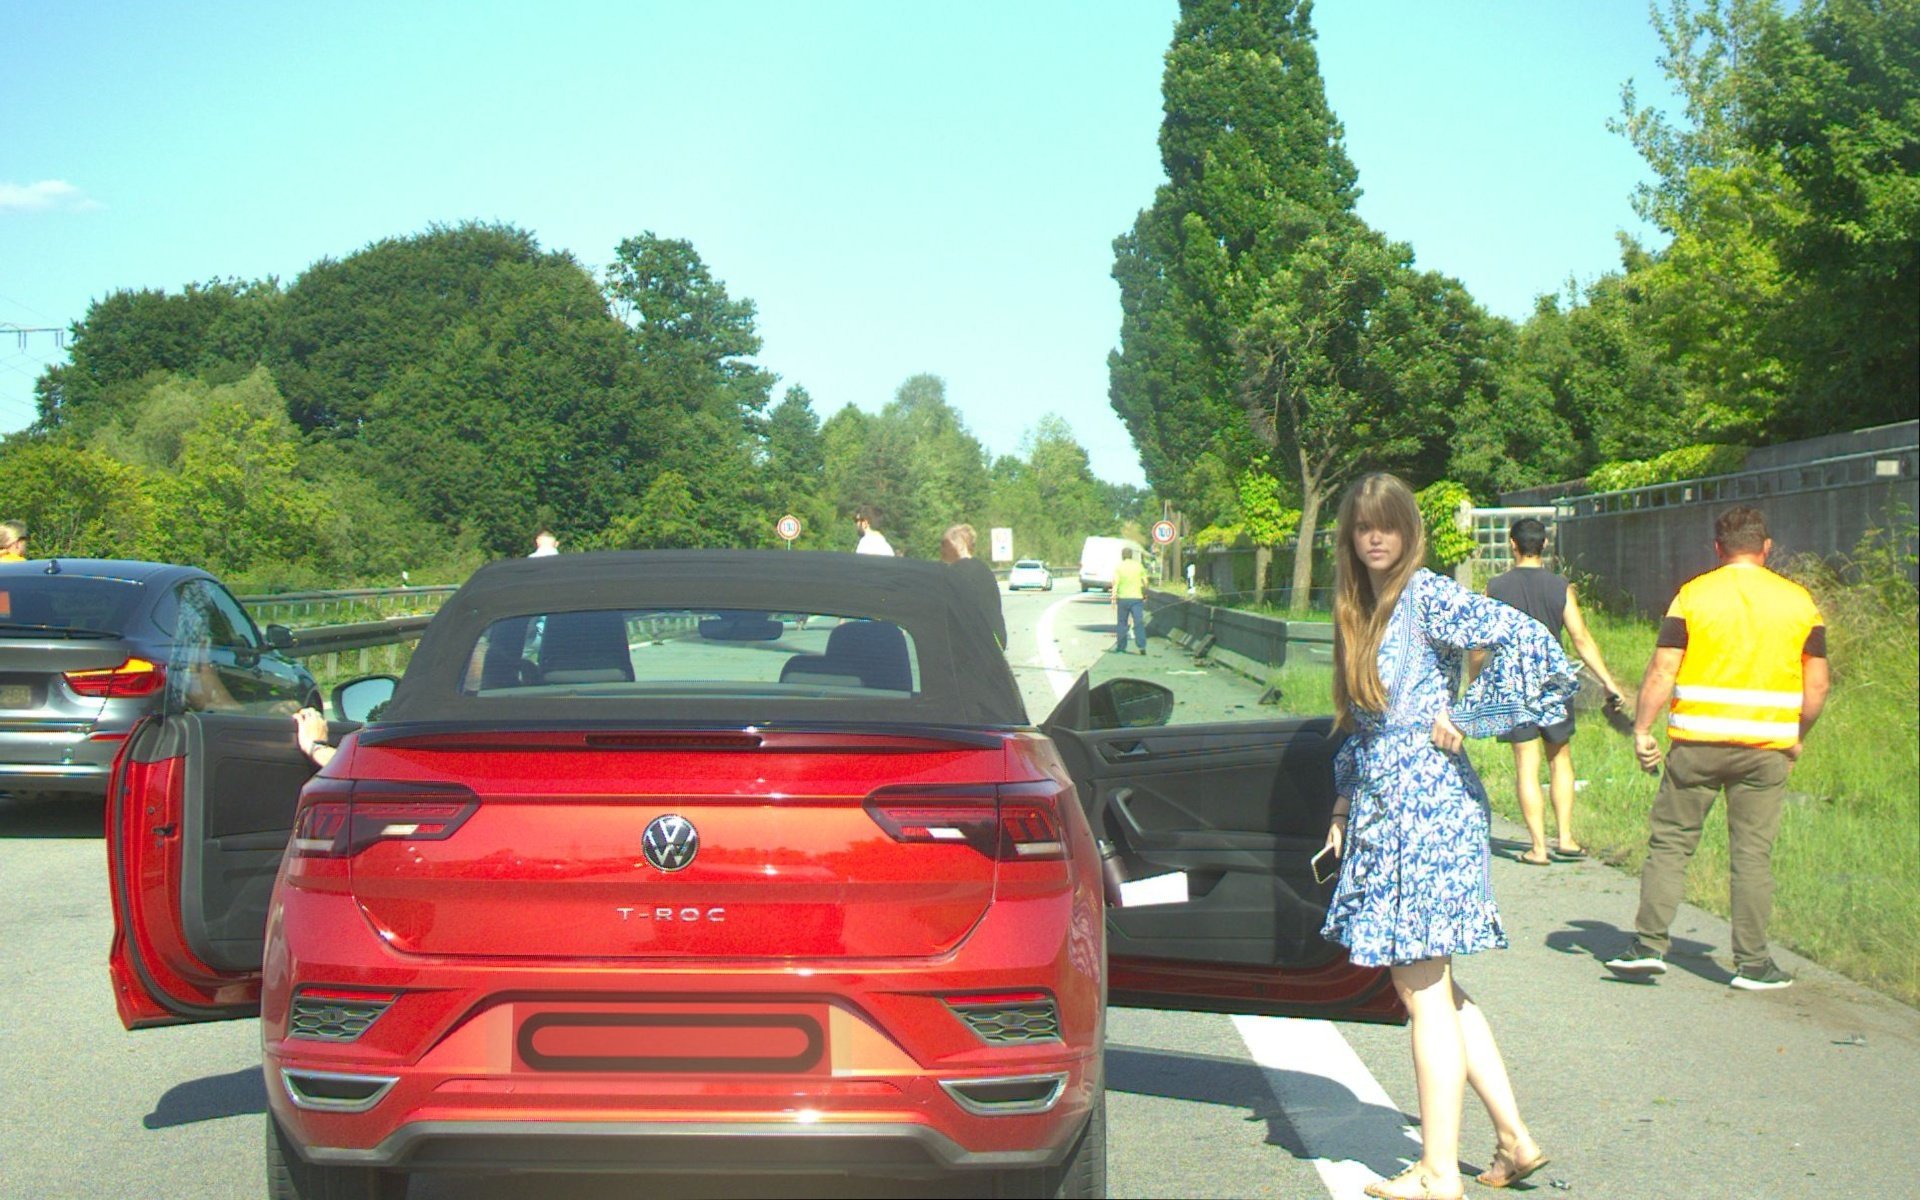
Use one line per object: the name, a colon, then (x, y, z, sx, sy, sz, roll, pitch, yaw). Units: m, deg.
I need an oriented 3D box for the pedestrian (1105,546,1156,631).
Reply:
pedestrian: (3.448, -0.236, 69.390, 0.996, 1.683, 1.010, 1, 0, 3)

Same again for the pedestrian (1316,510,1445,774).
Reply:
pedestrian: (2.870, 0.276, 23.428, 0.812, 1.753, 0.828, 1, 0, 9)

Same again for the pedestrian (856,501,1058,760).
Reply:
pedestrian: (-0.016, 0.211, 25.581, 1.067, 1.876, 1.091, 0, 1, 31)

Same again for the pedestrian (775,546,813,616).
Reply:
pedestrian: (-4.028, -0.451, 83.437, 0.791, 1.683, 0.792, 1, 0, 5)

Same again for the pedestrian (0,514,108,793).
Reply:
pedestrian: (-6.220, 0.333, 22.302, 1.041, 1.757, 1.118, -1, 1, 3)

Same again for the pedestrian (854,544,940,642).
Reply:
pedestrian: (-1.099, -0.128, 59.731, 1.116, 1.683, 0.971, 1, 0, 41)

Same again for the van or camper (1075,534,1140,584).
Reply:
van or camper: (6.920, -1.903, 160.567, 1.995, 2.308, 4.467, 1, 0, 16)

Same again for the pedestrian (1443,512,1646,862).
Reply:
pedestrian: (2.938, 0.427, 17.363, 0.895, 1.719, 0.754, 1, 0, 2)

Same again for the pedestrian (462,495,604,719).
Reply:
pedestrian: (-3.485, 0.051, 28.096, 1.104, 1.782, 1.092, 1, 0, -7)

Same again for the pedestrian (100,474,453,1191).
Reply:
pedestrian: (-1.672, 0.540, 8.527, 0.741, 1.677, 0.842, -1, 1, -5)

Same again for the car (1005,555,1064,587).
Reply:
car: (3.539, -1.378, 162.024, 1.734, 1.482, 4.207, 1, 1, 17)

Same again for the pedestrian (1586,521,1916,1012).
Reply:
pedestrian: (2.779, 0.555, 12.216, 0.958, 1.648, 1.278, -1, 1, 5)

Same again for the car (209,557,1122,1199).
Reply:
car: (-0.568, 0.647, 8.677, 1.732, 1.482, 4.210, 1, 1, 0)

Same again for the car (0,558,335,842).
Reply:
car: (-4.831, 0.483, 19.729, 1.694, 1.421, 4.334, 1, 1, 0)

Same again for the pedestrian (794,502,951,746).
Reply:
pedestrian: (-0.716, 0.178, 27.652, 1.105, 1.906, 1.257, -1, 1, -8)

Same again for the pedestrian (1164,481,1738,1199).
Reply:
pedestrian: (1.104, 0.585, 7.954, 1.124, 1.689, 0.893, -1, 1, -5)

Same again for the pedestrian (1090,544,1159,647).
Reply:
pedestrian: (2.755, -0.083, 57.408, 1.056, 1.683, 1.017, 1, 0, 7)
